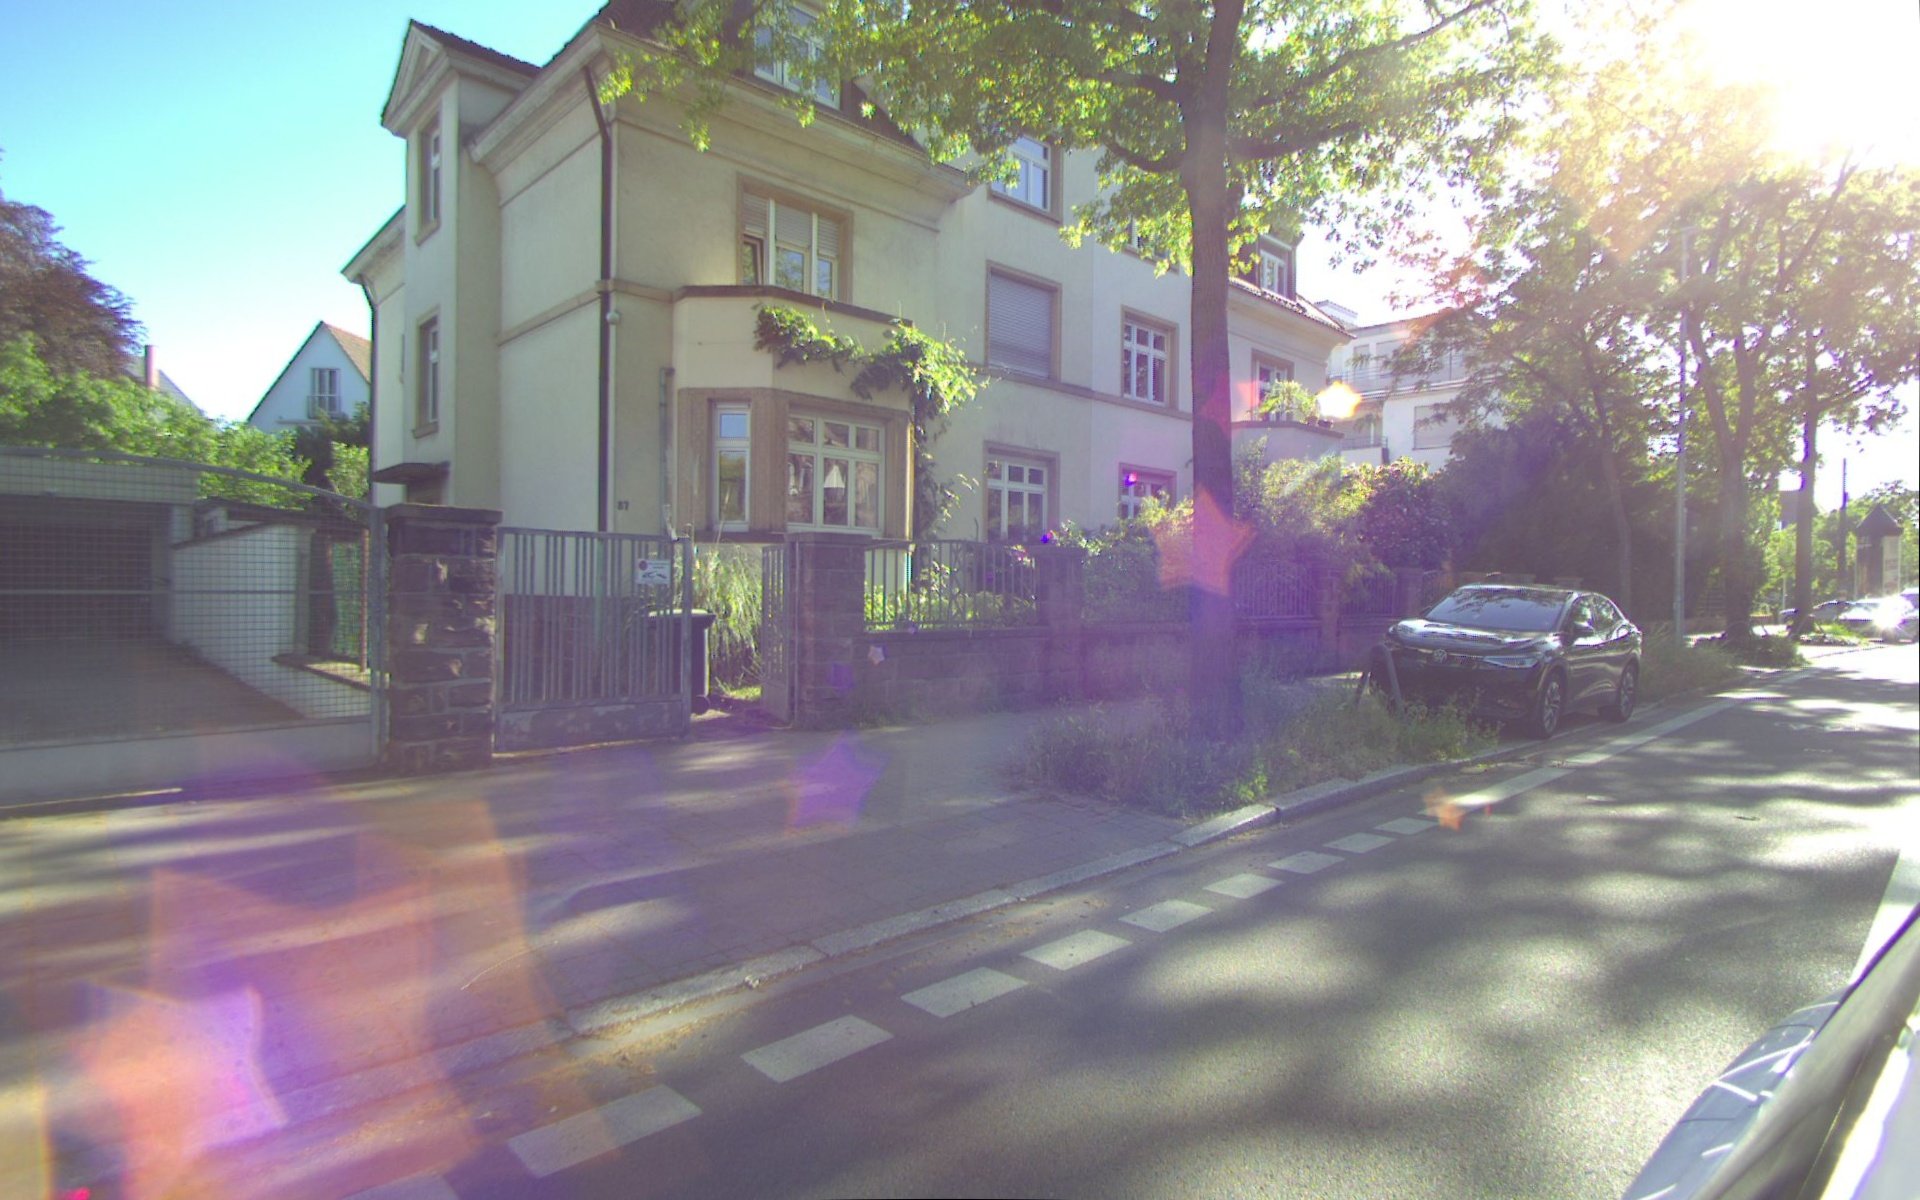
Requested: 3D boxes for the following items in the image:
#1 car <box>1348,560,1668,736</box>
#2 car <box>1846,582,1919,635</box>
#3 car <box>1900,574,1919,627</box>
[{"bbox_3d":[6.707,0.479,12.196,4.304,1.695,1.997,1,2,-42],"label":"car"},{"bbox_3d":[31.519,0.252,34.095,3.927,1.660,1.824,0,1,-38],"label":"car"},{"bbox_3d":[36.956,0.028,37.879,4.663,1.919,2.128,0,1,-41],"label":"car"}]
